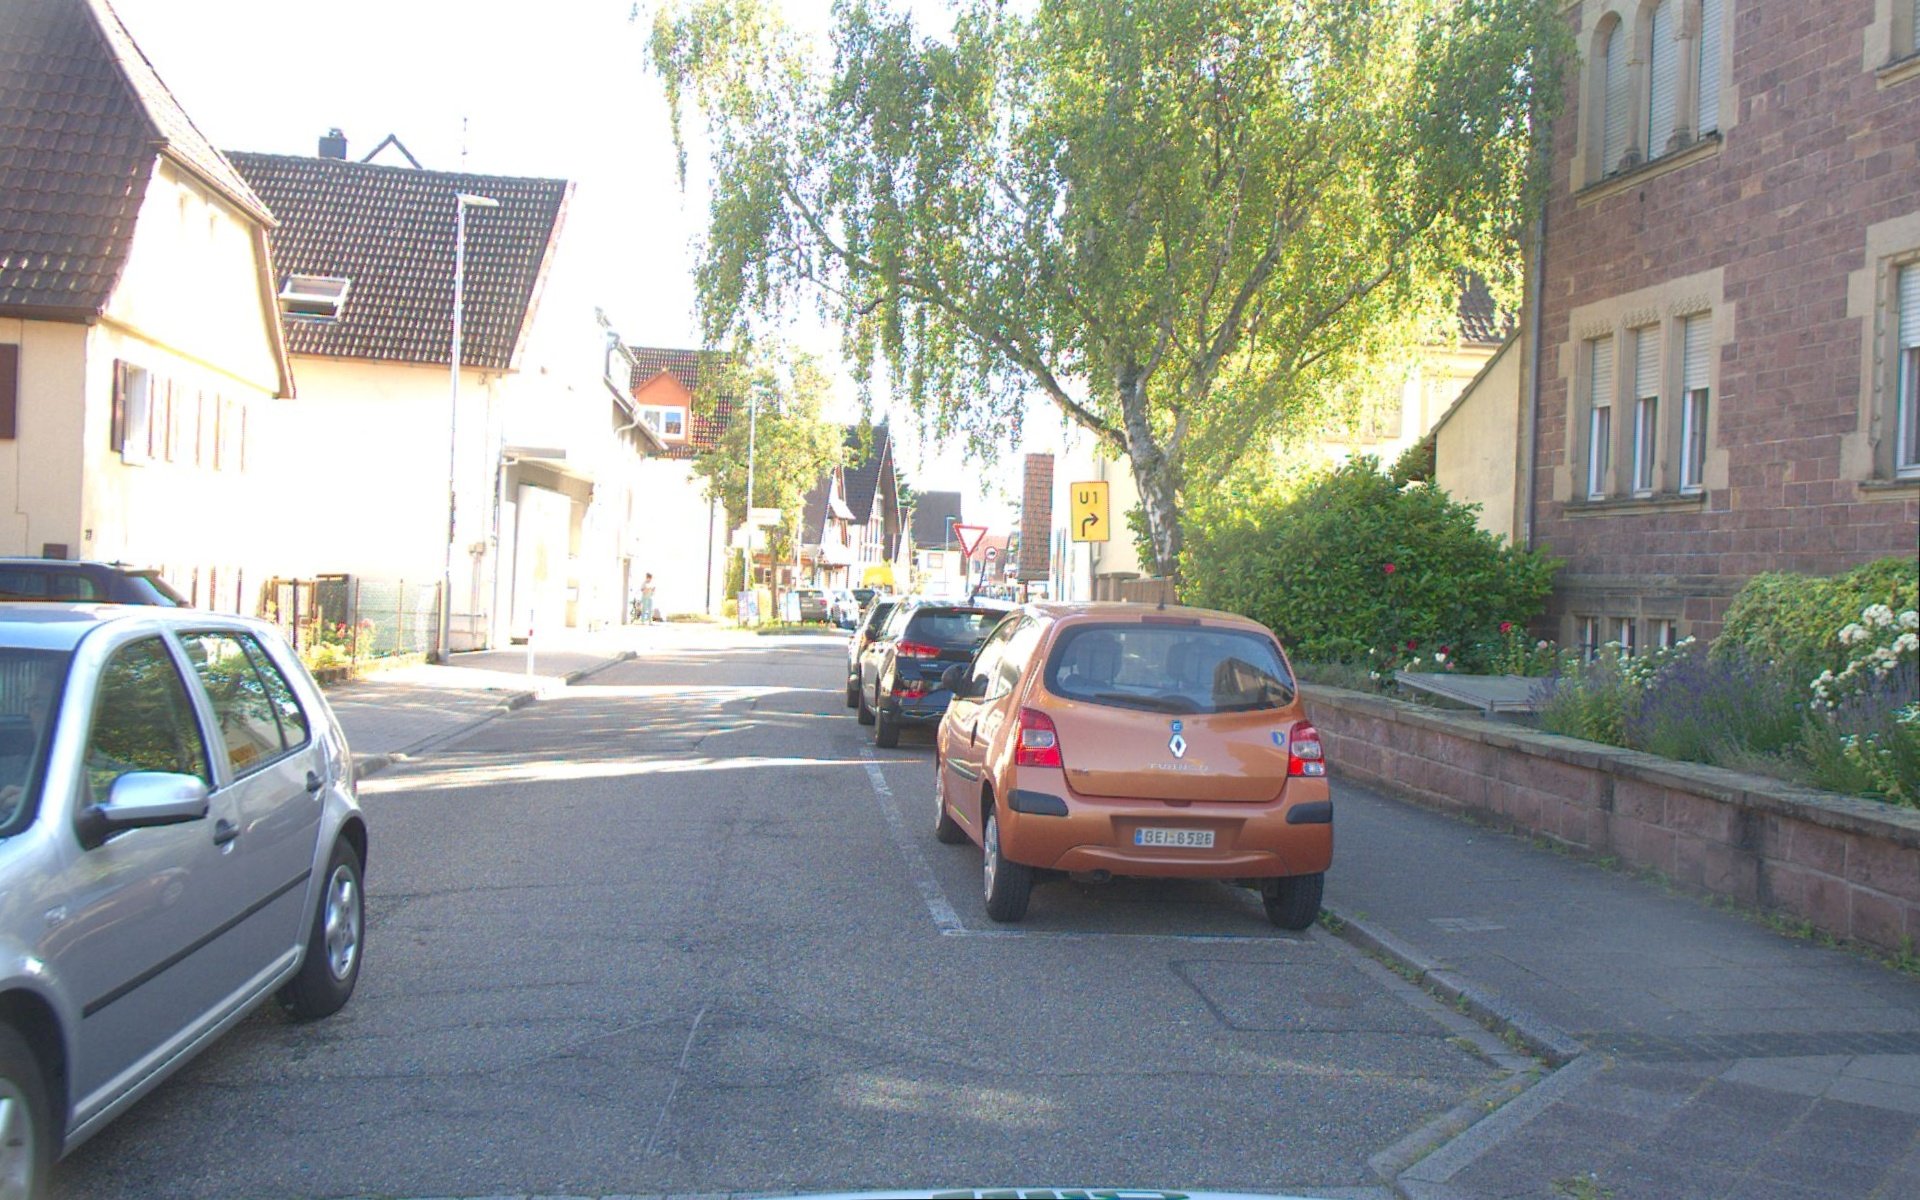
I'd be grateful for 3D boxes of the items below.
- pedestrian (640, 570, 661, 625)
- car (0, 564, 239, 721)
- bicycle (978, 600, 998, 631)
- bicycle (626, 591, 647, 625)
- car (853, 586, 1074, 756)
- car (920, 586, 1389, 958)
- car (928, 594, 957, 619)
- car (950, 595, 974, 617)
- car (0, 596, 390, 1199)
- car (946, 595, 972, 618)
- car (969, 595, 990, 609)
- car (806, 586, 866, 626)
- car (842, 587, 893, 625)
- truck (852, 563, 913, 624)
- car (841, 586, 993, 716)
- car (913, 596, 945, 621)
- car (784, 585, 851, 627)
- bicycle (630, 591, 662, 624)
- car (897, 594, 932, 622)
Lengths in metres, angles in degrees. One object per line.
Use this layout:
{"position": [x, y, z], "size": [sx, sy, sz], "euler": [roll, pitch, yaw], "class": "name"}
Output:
{"position": [-9.890, -0.080, 52.921], "size": [0.473, 1.722, 0.557], "euler": [3, -2, 0], "class": "pedestrian"}
{"position": [-9.598, 0.387, 16.475], "size": [4.082, 1.487, 1.844], "euler": [0, 1, -10], "class": "car"}
{"position": [1.131, 0.609, 66.475], "size": [0.424, 1.197, 1.830], "euler": [2, 0, 13], "class": "bicycle"}
{"position": [-10.305, 0.257, 52.732], "size": [0.415, 1.071, 1.380], "euler": [2, -1, -3], "class": "bicycle"}
{"position": [-0.098, 0.644, 17.436], "size": [1.773, 1.461, 4.279], "euler": [3, 1, -7], "class": "car"}
{"position": [0.801, 0.734, 9.036], "size": [1.617, 1.504, 3.928], "euler": [3, 1, -7], "class": "car"}
{"position": [-1.108, 0.424, 106.022], "size": [1.555, 1.468, 3.616], "euler": [3, 0, 2], "class": "car"}
{"position": [0.151, 0.415, 117.901], "size": [1.555, 1.468, 3.616], "euler": [3, 0, 2], "class": "car"}
{"position": [-2.721, 0.732, 3.935], "size": [1.638, 1.427, 3.888], "euler": [1, 1, -5], "class": "car"}
{"position": [-0.054, 0.455, 113.252], "size": [1.555, 1.468, 3.616], "euler": [3, 0, 2], "class": "car"}
{"position": [2.339, 0.239, 198.768], "size": [1.937, 1.610, 3.987], "euler": [3, 0, -9], "class": "car"}
{"position": [-5.171, 0.271, 69.387], "size": [1.768, 1.532, 4.110], "euler": [2, 0, 5], "class": "car"}
{"position": [-4.354, 0.290, 78.290], "size": [1.768, 1.650, 3.883], "euler": [2, 0, 5], "class": "car"}
{"position": [-3.872, -0.276, 83.902], "size": [2.220, 2.918, 5.786], "euler": [2, 0, 5], "class": "truck"}
{"position": [-0.630, 0.602, 22.132], "size": [1.771, 1.461, 4.283], "euler": [3, 1, -3], "class": "car"}
{"position": [-1.812, 0.480, 97.403], "size": [1.555, 1.359, 3.616], "euler": [3, 0, 2], "class": "car"}
{"position": [-5.563, 0.257, 65.009], "size": [1.828, 1.532, 4.110], "euler": [2, 0, 5], "class": "car"}
{"position": [-10.647, 0.268, 56.130], "size": [0.566, 1.071, 2.037], "euler": [2, -1, 4], "class": "bicycle"}
{"position": [-2.530, 0.430, 92.804], "size": [1.611, 1.457, 3.616], "euler": [3, 0, 2], "class": "car"}
